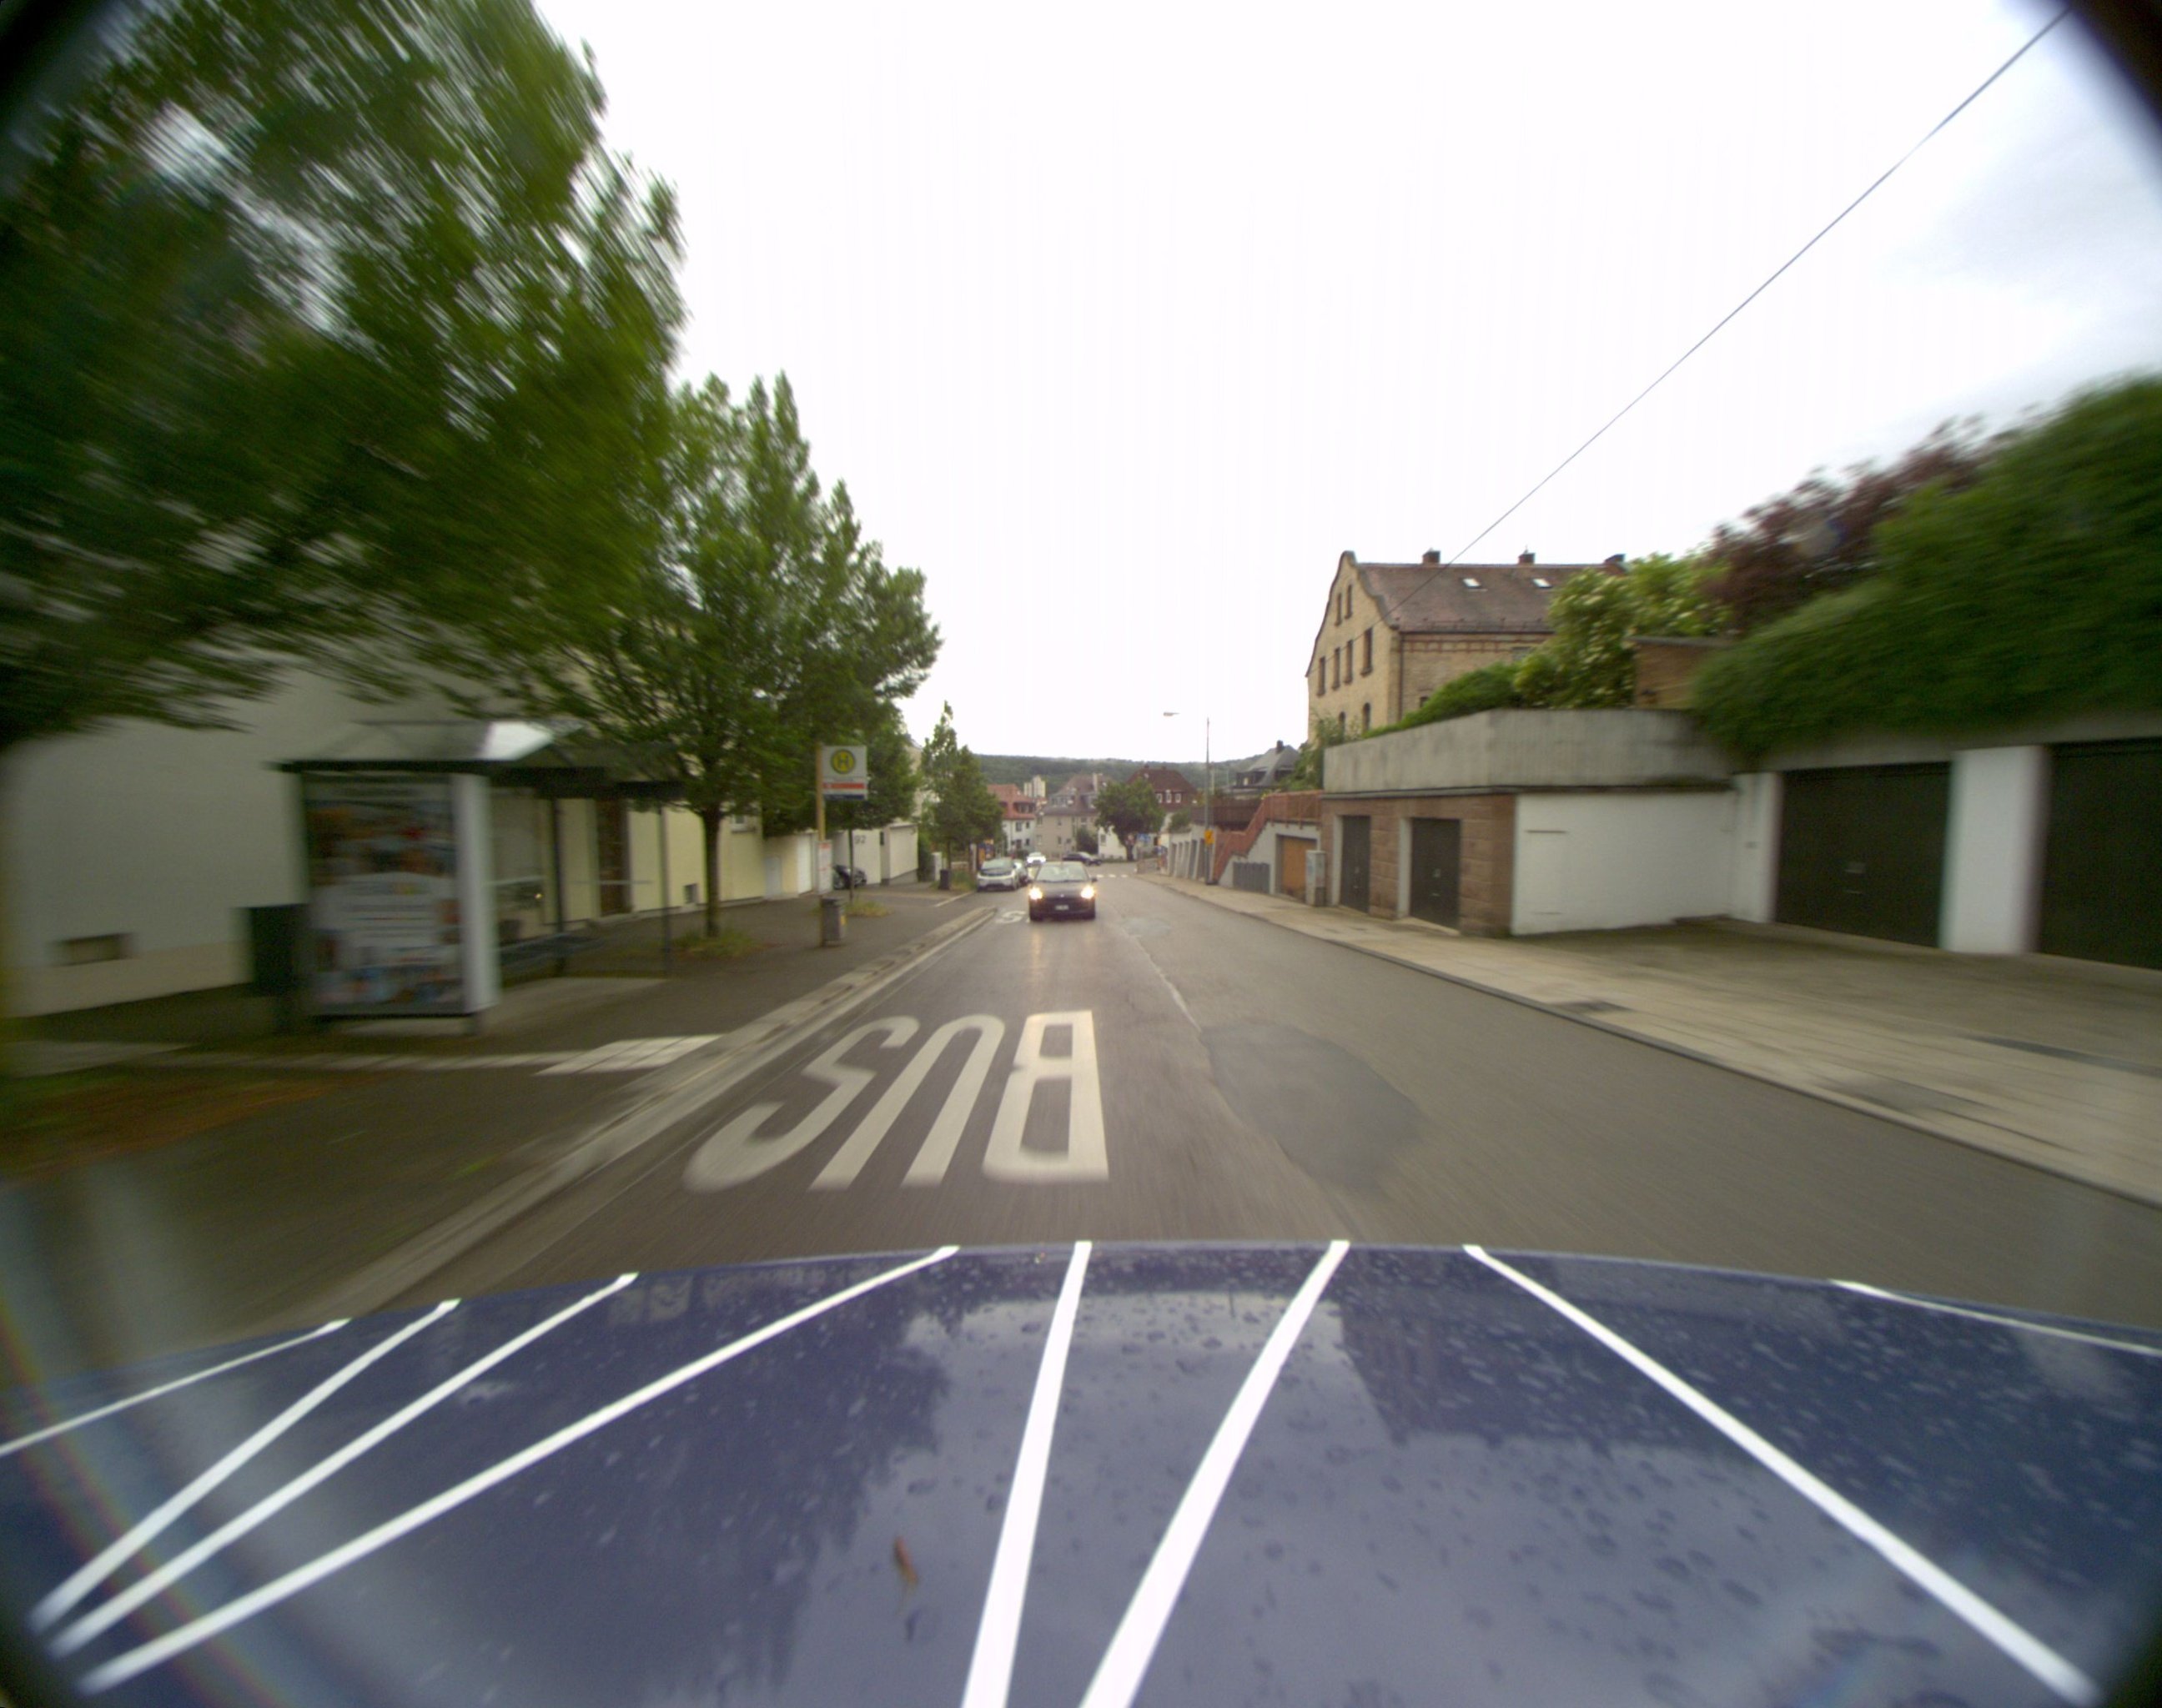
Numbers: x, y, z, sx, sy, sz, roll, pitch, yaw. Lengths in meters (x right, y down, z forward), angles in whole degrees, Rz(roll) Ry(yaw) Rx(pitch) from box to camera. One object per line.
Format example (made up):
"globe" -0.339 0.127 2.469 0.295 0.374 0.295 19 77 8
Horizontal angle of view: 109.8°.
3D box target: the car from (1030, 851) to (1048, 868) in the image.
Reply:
"car" -4.941 0.670 88.845 2.016 1.892 4.093 -1 0 -4

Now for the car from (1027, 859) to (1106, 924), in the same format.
"car" -0.366 0.918 20.404 1.892 1.521 4.056 -1 0 -1

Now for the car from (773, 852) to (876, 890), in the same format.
"car" -10.730 0.716 31.968 3.709 1.498 1.782 -1 0 1

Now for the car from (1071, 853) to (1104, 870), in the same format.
"car" 0.651 0.753 77.803 1.861 1.576 3.992 -1 0 -24

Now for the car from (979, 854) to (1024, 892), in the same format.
"car" -3.707 0.846 36.154 1.734 1.598 4.118 -2 0 -1

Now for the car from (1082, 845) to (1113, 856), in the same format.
"car" 2.529 -0.519 113.918 4.227 1.663 1.874 -1 1 -22

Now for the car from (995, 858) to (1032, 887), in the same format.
"car" -3.649 0.962 41.601 1.784 1.430 4.879 -1 0 -3

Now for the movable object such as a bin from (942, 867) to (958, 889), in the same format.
"movable object such as a bin" -5.888 1.077 34.185 0.486 0.969 0.604 3 1 6

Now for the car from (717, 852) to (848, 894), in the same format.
"car" -11.497 0.727 29.417 4.308 1.471 1.830 -1 0 1
